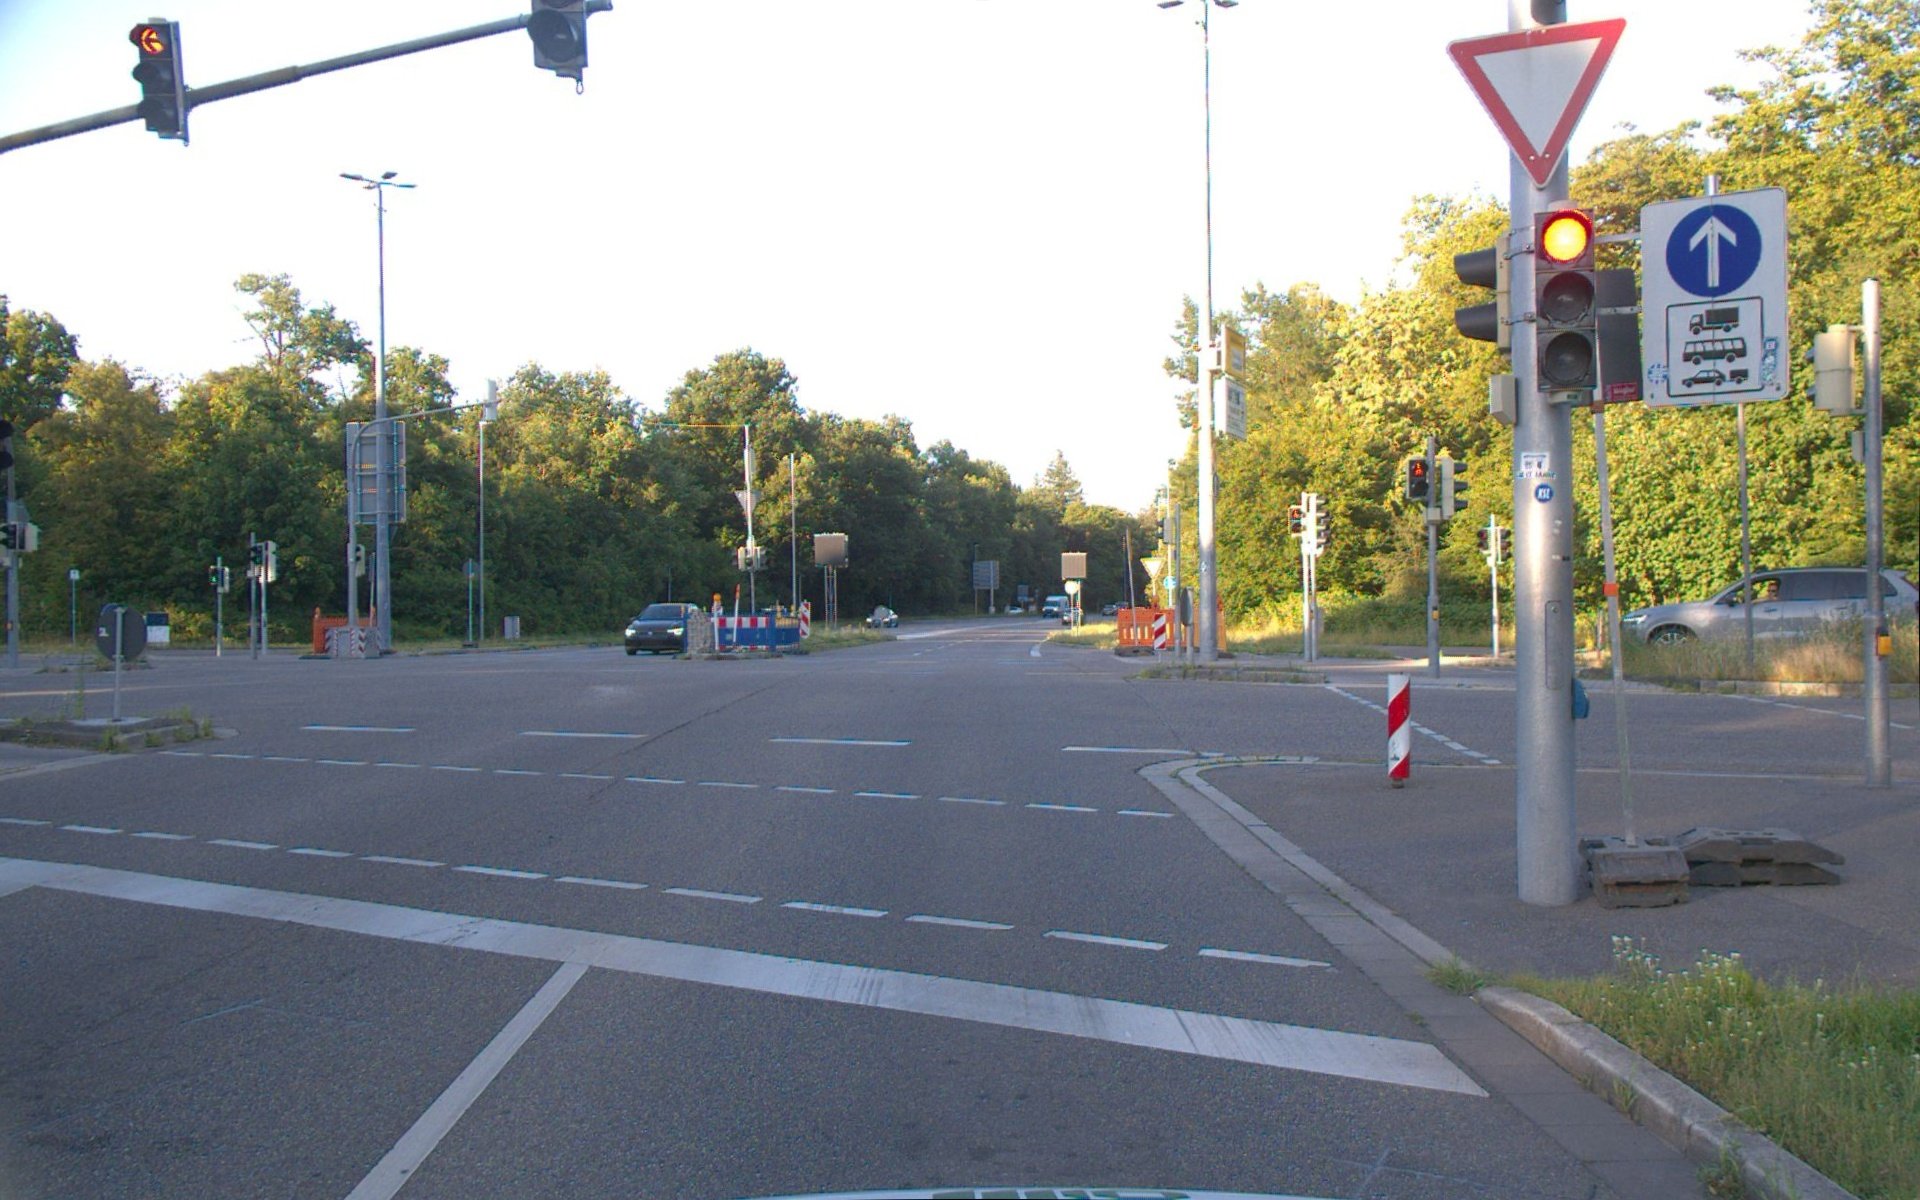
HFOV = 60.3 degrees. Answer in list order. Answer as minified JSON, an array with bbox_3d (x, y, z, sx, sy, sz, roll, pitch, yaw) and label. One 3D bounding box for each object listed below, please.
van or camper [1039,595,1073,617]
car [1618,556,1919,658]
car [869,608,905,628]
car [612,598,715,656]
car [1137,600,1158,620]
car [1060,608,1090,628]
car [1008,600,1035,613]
[{"bbox_3d":[12.251,0.708,210.847,2.824,2.699,7.127,-1,0,16],"label":"van or camper"},{"bbox_3d":[13.832,0.126,28.318,4.716,1.626,2.000,-1,0,21],"label":"car"},{"bbox_3d":[-5.559,1.384,126.520,1.951,1.445,4.003,-1,0,10],"label":"car"},{"bbox_3d":[-8.515,0.745,47.822,1.952,1.556,4.679,-1,0,2],"label":"car"},{"bbox_3d":[20.624,1.099,181.716,1.750,2.049,4.003,-1,0,14],"label":"car"},{"bbox_3d":[9.988,1.519,143.093,1.951,1.646,4.003,-1,0,13],"label":"car"},{"bbox_3d":[9.030,0.972,241.922,3.904,1.755,1.846,1,-1,3],"label":"car"}]
